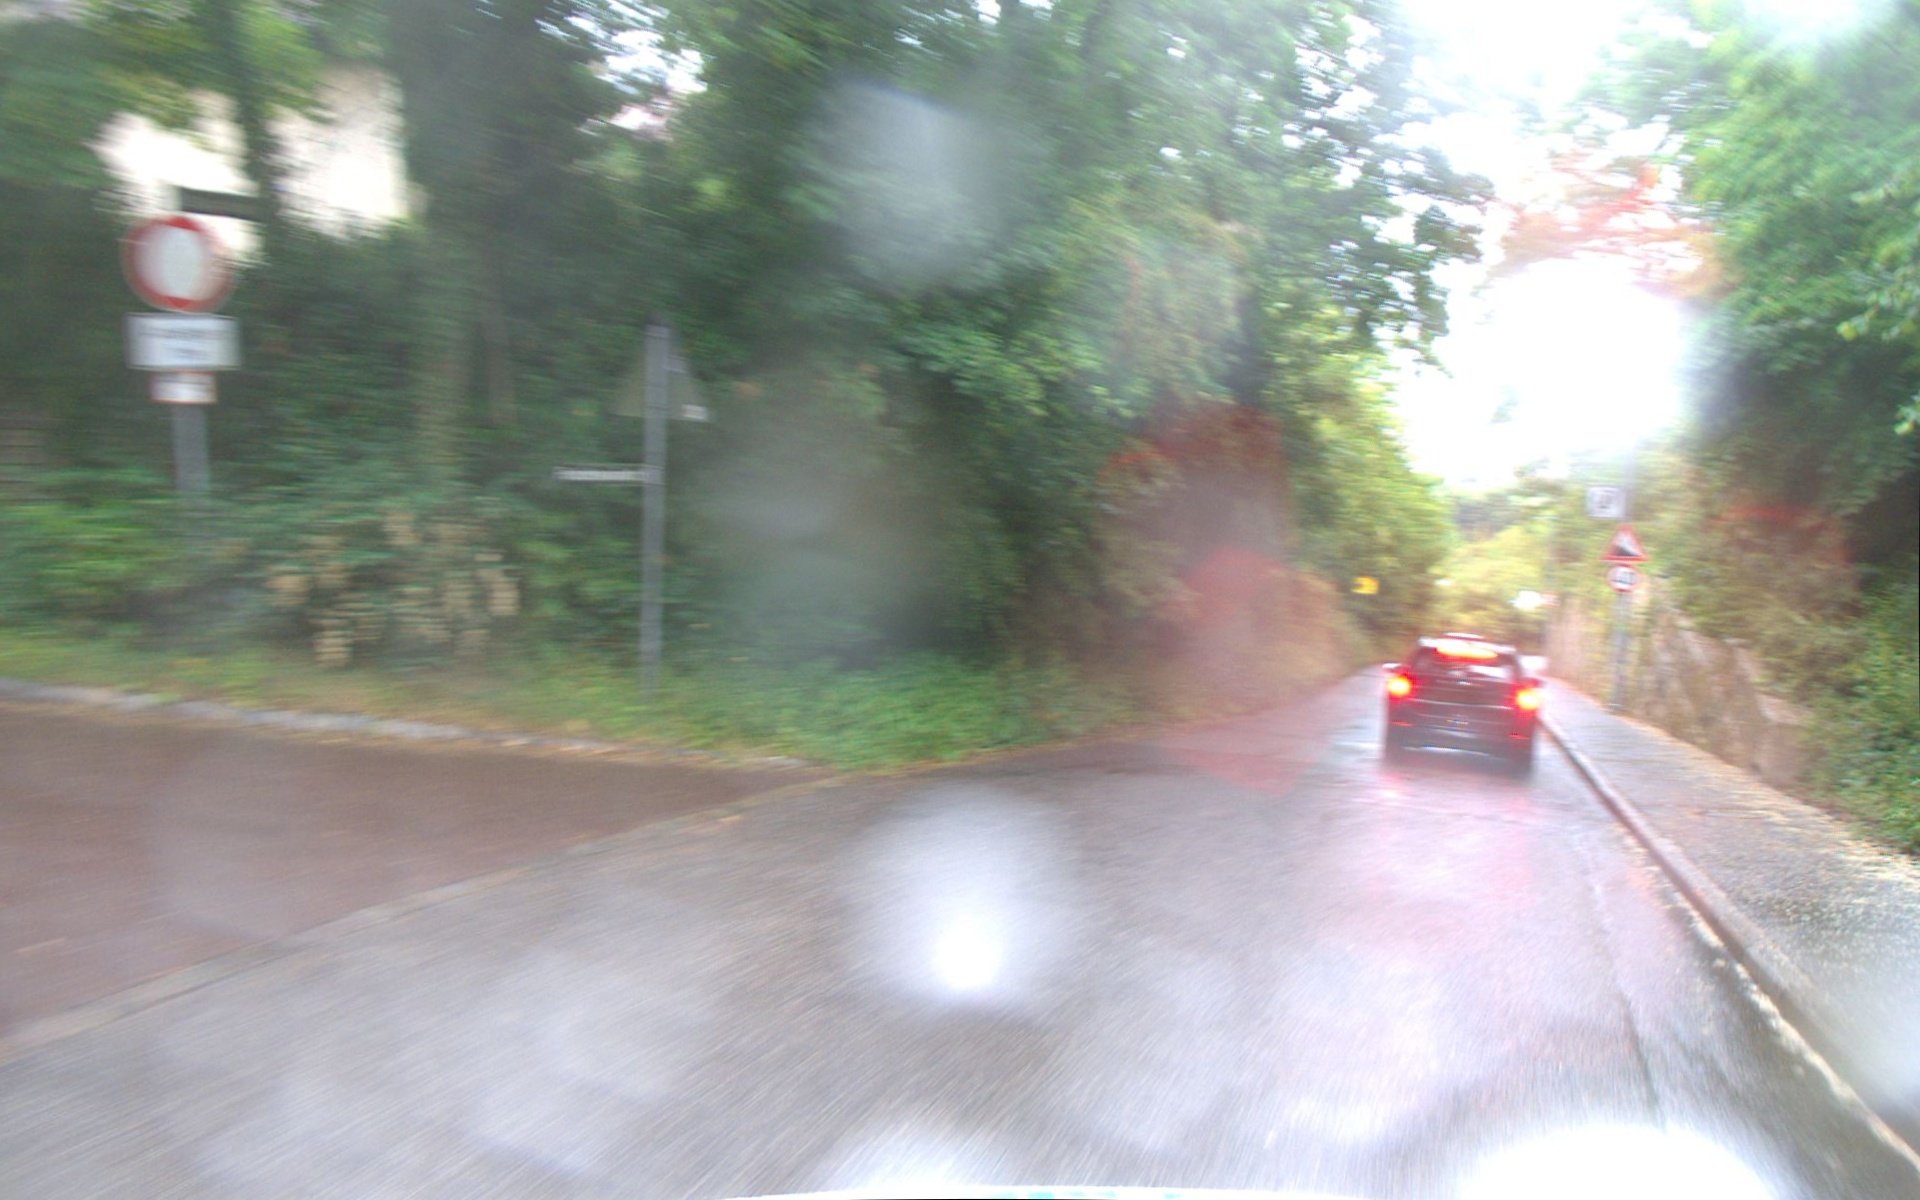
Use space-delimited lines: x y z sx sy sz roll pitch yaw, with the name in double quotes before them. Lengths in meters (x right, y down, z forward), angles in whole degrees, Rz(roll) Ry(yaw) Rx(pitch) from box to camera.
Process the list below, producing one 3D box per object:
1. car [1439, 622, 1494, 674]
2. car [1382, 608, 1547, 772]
"car" 19.668 1.832 64.278 1.825 1.773 4.002 6 1 17
"car" 6.114 0.989 20.129 1.664 1.475 4.004 3 4 16
